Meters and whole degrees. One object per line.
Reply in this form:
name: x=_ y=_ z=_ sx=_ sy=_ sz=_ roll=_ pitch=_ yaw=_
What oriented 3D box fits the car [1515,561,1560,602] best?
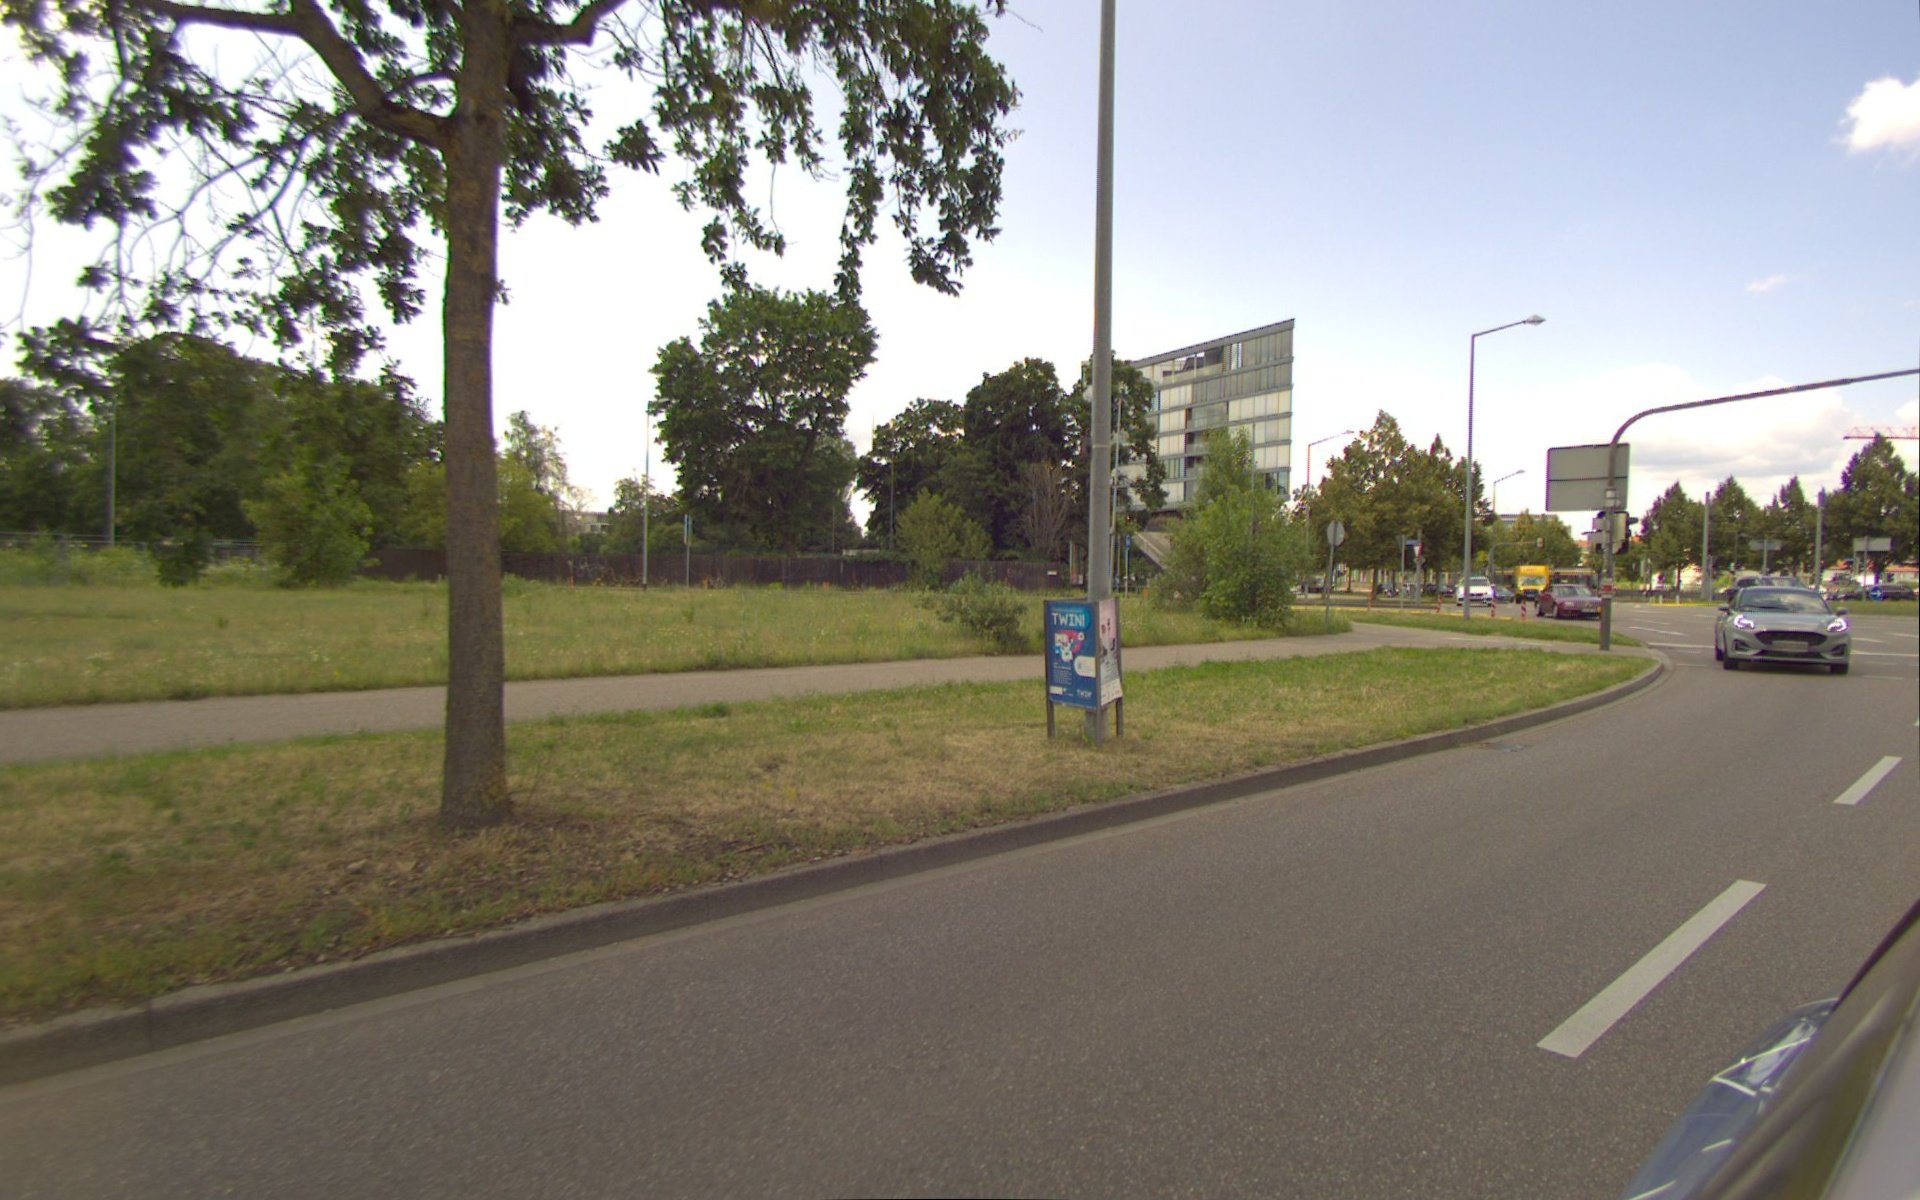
car: x=43.041 y=-1.411 z=75.289 sx=2.271 sy=2.888 sz=7.166 roll=2 pitch=2 yaw=35

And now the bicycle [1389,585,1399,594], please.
bicycle: x=40.334 y=-0.994 z=94.125 sx=0.352 sy=0.836 sz=1.473 roll=1 pitch=1 yaw=2

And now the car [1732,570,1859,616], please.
car: x=32.032 y=-0.319 z=38.951 sx=1.745 sy=1.618 sz=4.122 roll=-1 pitch=2 yaw=6

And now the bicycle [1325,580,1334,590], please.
bicycle: x=43.354 y=-1.755 z=118.686 sx=0.507 sy=1.102 sz=1.747 roll=2 pitch=1 yaw=4

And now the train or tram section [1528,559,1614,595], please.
train or tram section: x=68.249 y=-2.545 z=113.525 sx=2.803 sy=3.786 sz=13.452 roll=1 pitch=1 yaw=7

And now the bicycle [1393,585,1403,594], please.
bicycle: x=40.575 y=-0.991 z=93.734 sx=0.352 sy=0.836 sz=1.473 roll=1 pitch=1 yaw=2

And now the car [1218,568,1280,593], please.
car: x=26.570 y=-1.802 z=93.013 sx=5.044 sy=2.174 sz=2.153 roll=0 pitch=1 yaw=-11

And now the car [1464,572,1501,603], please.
car: x=28.196 y=-0.685 z=54.586 sx=1.659 sy=1.618 sz=4.088 roll=-1 pitch=1 yaw=28

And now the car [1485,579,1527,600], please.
car: x=49.094 y=-0.993 z=91.098 sx=1.967 sy=1.783 sz=4.286 roll=-1 pitch=1 yaw=9

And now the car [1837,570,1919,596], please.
car: x=62.517 y=-1.156 z=68.063 sx=5.031 sy=1.696 sz=1.977 roll=2 pitch=1 yaw=32

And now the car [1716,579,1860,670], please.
car: x=15.680 y=0.373 z=19.350 sx=1.663 sy=1.489 sz=4.045 roll=0 pitch=2 yaw=33

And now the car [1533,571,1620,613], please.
car: x=23.553 y=-0.359 z=38.820 sx=1.650 sy=1.276 sz=4.079 roll=-1 pitch=4 yaw=14
